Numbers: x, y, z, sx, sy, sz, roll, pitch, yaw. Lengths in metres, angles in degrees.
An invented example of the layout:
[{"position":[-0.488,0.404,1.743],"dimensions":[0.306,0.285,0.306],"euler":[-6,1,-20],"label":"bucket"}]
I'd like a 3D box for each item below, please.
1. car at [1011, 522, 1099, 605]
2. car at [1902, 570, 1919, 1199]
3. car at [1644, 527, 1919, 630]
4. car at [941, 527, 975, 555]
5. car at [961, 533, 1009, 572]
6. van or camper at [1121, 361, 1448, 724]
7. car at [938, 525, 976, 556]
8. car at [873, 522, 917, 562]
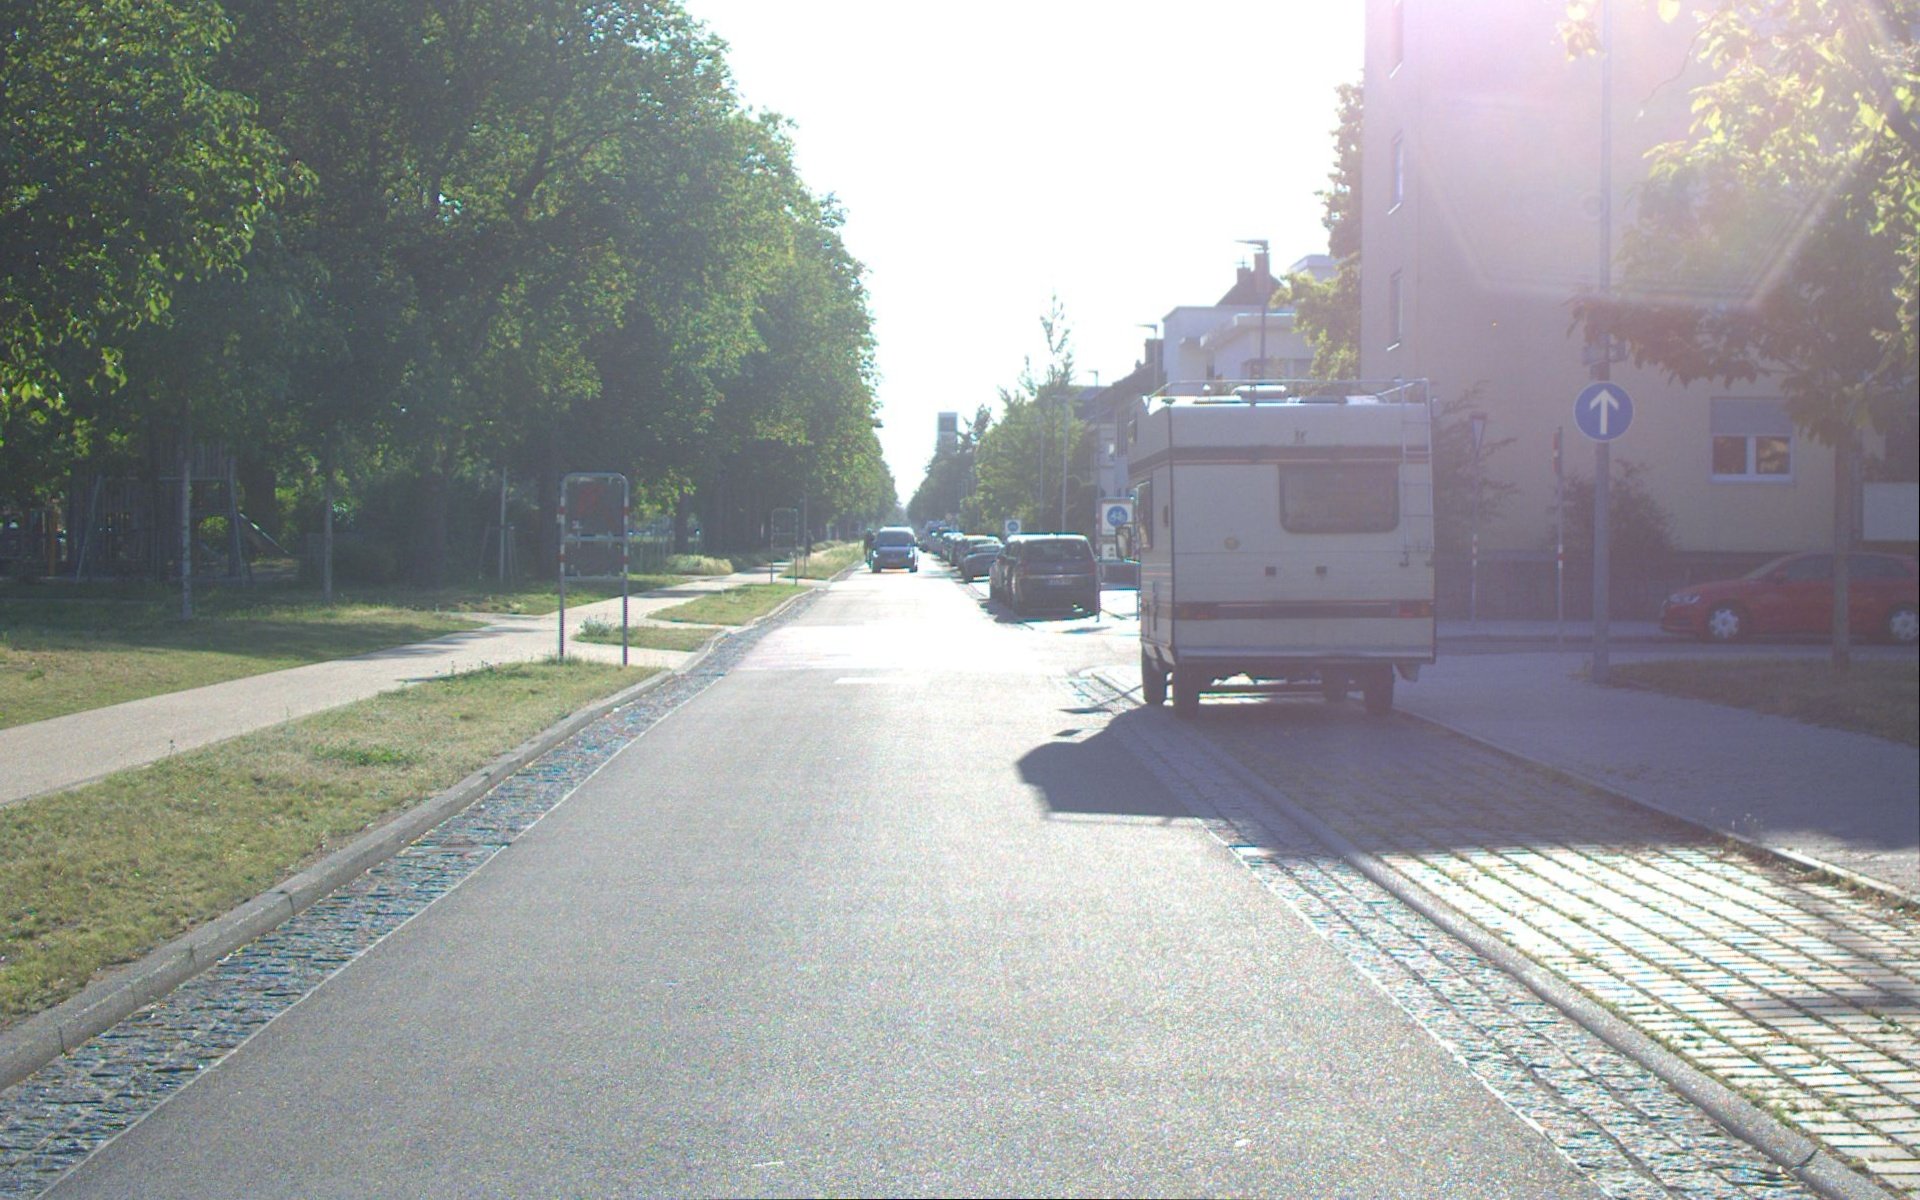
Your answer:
[{"position":[1.948,-0.774,71.614],"dimensions":[1.626,1.663,4.250],"euler":[0,1,-1],"label":"car"},{"position":[3.067,0.697,5.617],"dimensions":[1.626,1.459,4.250],"euler":[0,1,-4],"label":"car"},{"position":[12.656,-0.338,52.250],"dimensions":[4.195,1.525,2.000],"euler":[0,1,4],"label":"car"},{"position":[-0.112,-2.970,173.034],"dimensions":[1.626,1.405,4.250],"euler":[0,1,-1],"label":"car"},{"position":[0.911,-1.729,125.293],"dimensions":[1.626,1.405,4.250],"euler":[0,1,-1],"label":"car"},{"position":[2.727,-0.457,30.299],"dimensions":[2.234,2.894,5.673],"euler":[0,0,-1],"label":"van or camper"},{"position":[-0.138,-2.711,156.471],"dimensions":[1.626,1.405,4.250],"euler":[0,1,-1],"label":"car"},{"position":[-2.688,-2.396,142.154],"dimensions":[1.825,1.663,4.250],"euler":[0,1,-1],"label":"car"}]
